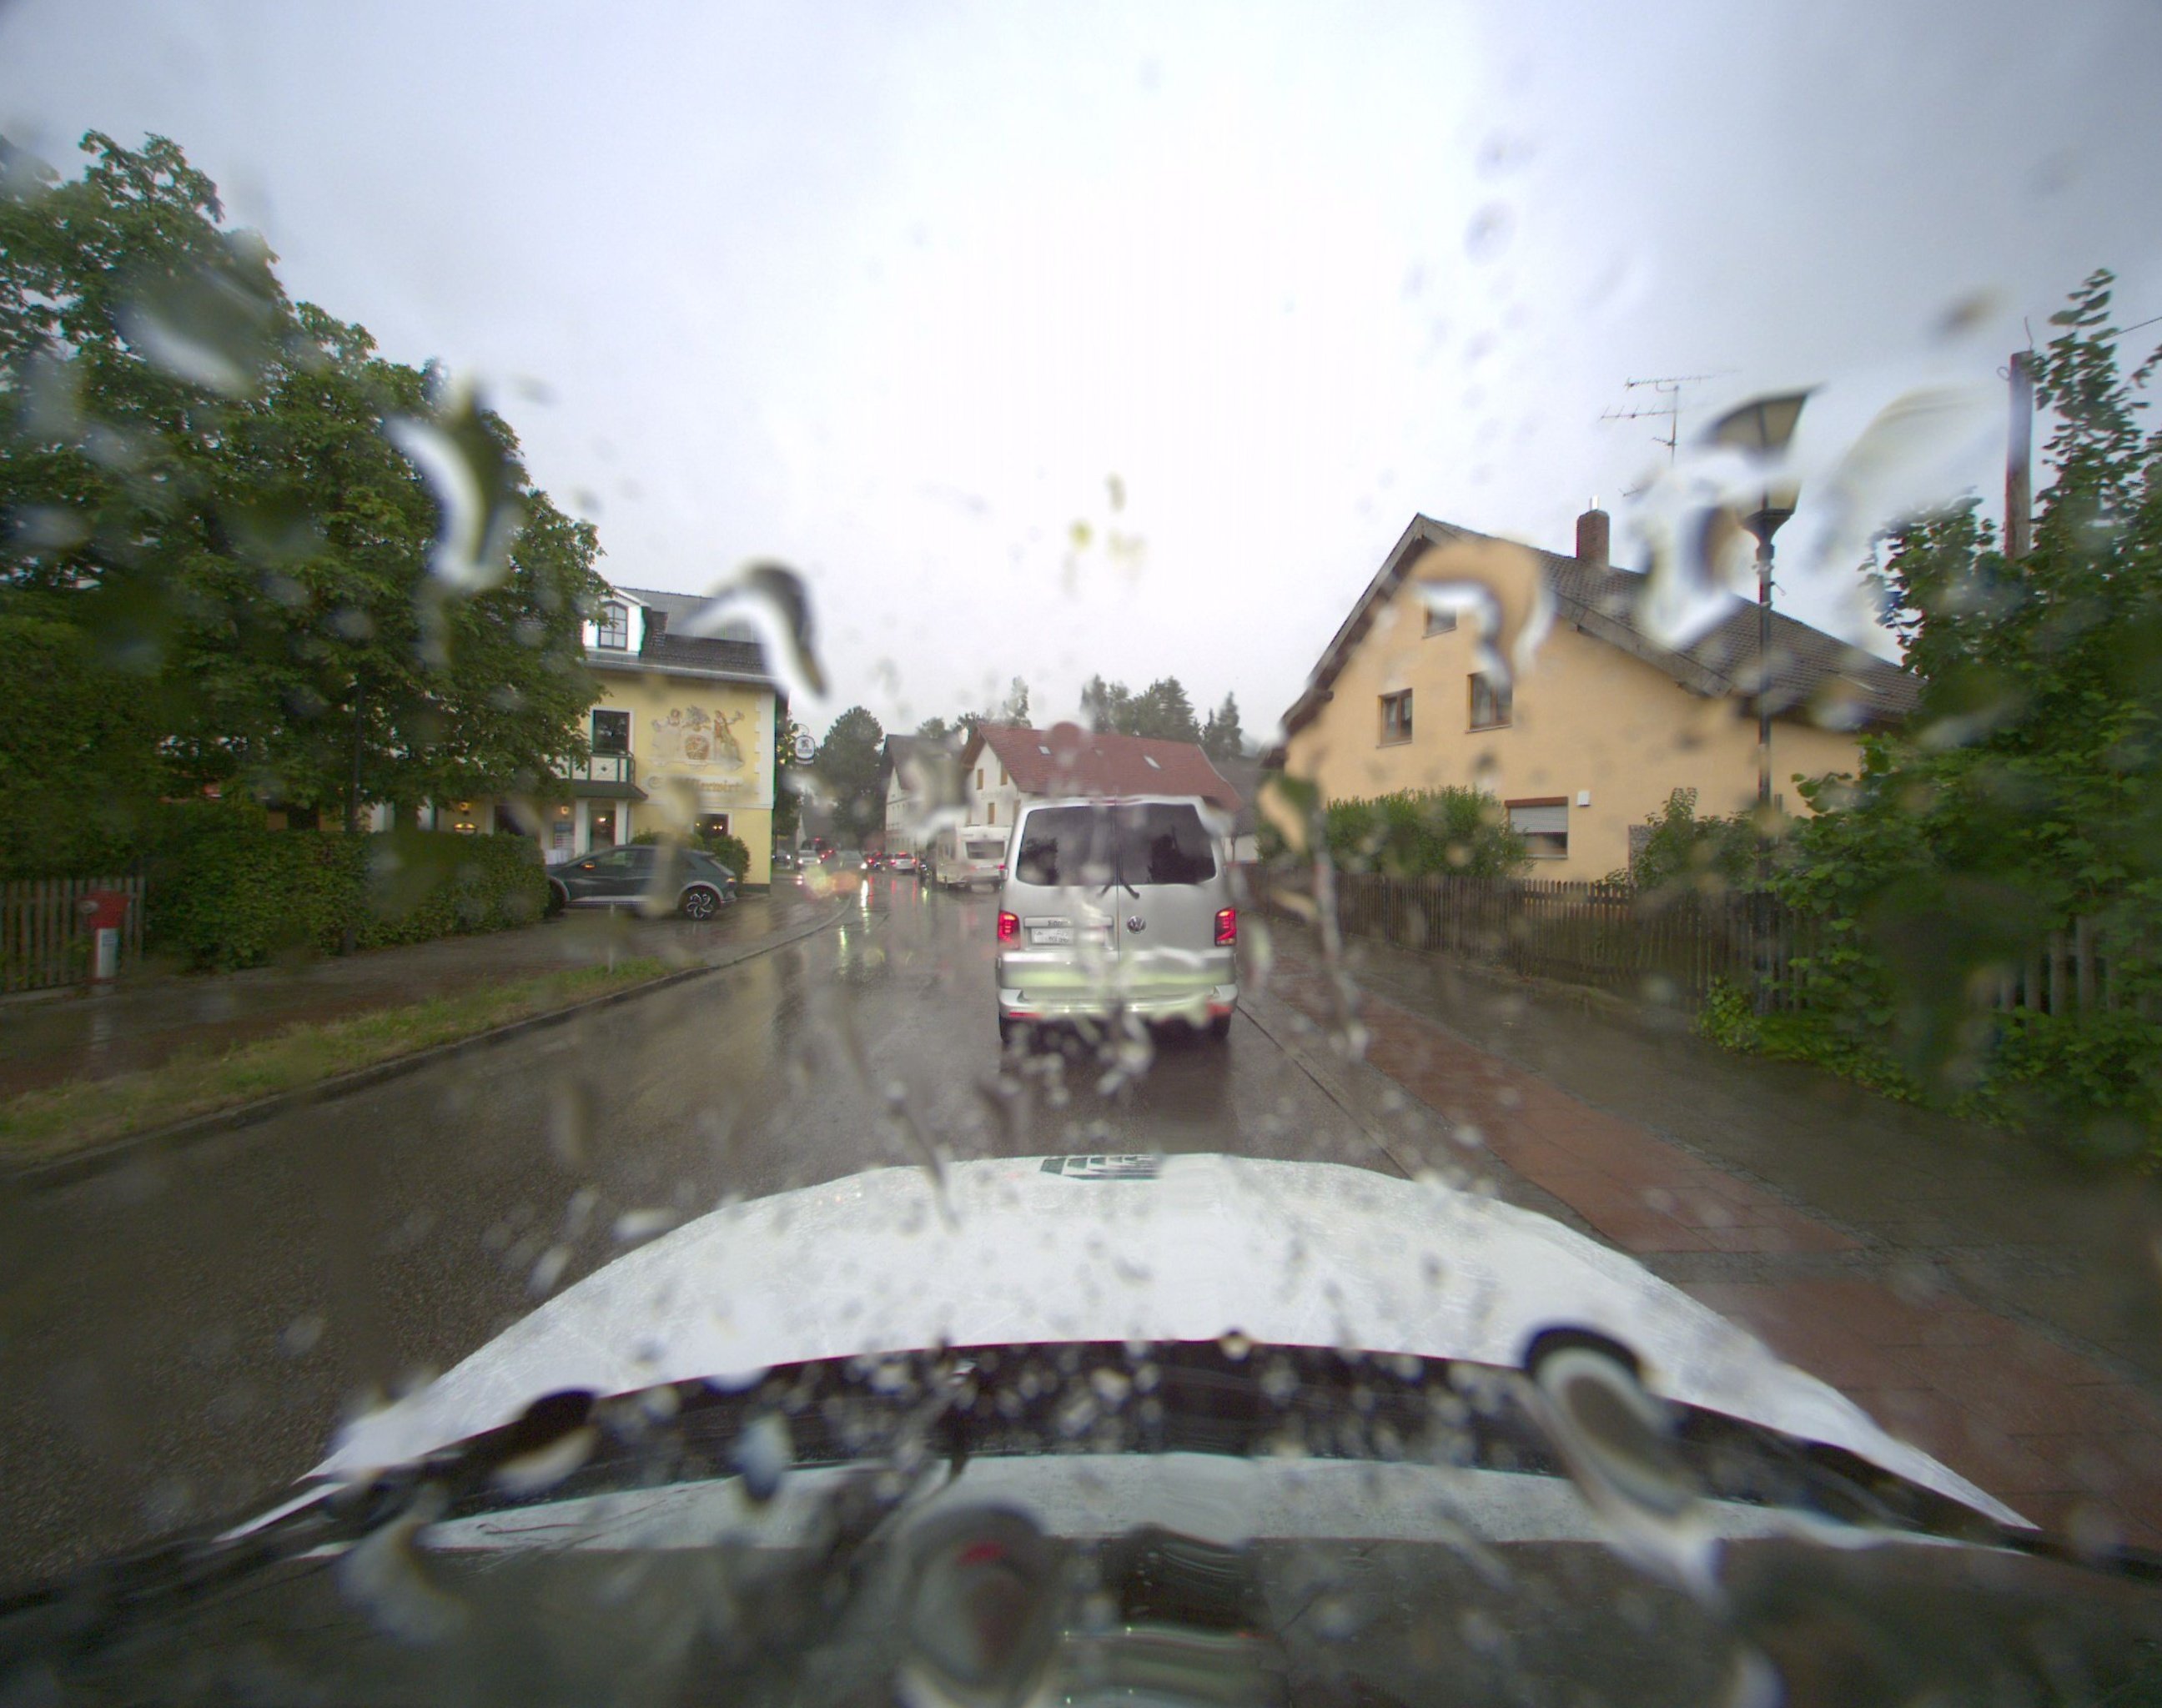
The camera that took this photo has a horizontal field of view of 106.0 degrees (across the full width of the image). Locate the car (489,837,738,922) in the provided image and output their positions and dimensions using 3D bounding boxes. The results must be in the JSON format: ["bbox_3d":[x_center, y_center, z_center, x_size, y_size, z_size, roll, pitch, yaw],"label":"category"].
[{"bbox_3d":[-10.132,0.571,18.054,4.499,1.567,1.824,4,1,-27],"label":"car"}]

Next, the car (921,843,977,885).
[{"bbox_3d":[-6.480,0.453,39.468,2.058,1.899,5.147,0,0,-16],"label":"car"}]

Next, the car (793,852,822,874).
[{"bbox_3d":[-22.432,0.726,66.687,1.762,1.677,3.966,-1,0,-26],"label":"car"}]

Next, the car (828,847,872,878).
[{"bbox_3d":[-13.947,0.485,49.023,1.932,1.744,4.157,-1,0,-25],"label":"car"}]

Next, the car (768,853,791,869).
[{"bbox_3d":[-31.172,0.740,84.191,1.597,1.610,3.504,-1,0,-31],"label":"car"}]

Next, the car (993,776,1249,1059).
[{"bbox_3d":[0.382,0.453,8.258,1.769,1.962,5.077,-1,0,2],"label":"car"}]

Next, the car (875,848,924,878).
[{"bbox_3d":[-12.227,0.601,54.575,2.179,1.899,4.973,1,-1,-24],"label":"car"}]

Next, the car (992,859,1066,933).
[{"bbox_3d":[-1.406,1.014,21.674,1.705,1.584,4.678,-2,1,-4],"label":"car"}]

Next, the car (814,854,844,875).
[{"bbox_3d":[-24.550,0.970,79.200,2.179,1.899,4.974,1,0,-24],"label":"car"}]

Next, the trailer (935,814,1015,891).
[{"bbox_3d":[-4.572,-0.057,34.181,2.277,2.904,6.095,0,0,-18],"label":"trailer"}]

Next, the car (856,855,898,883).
[{"bbox_3d":[-15.126,1.080,60.231,2.179,1.899,4.974,1,0,-24],"label":"car"}]

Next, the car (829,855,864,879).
[{"bbox_3d":[-20.221,1.056,70.114,2.179,1.899,4.974,1,0,-24],"label":"car"}]
